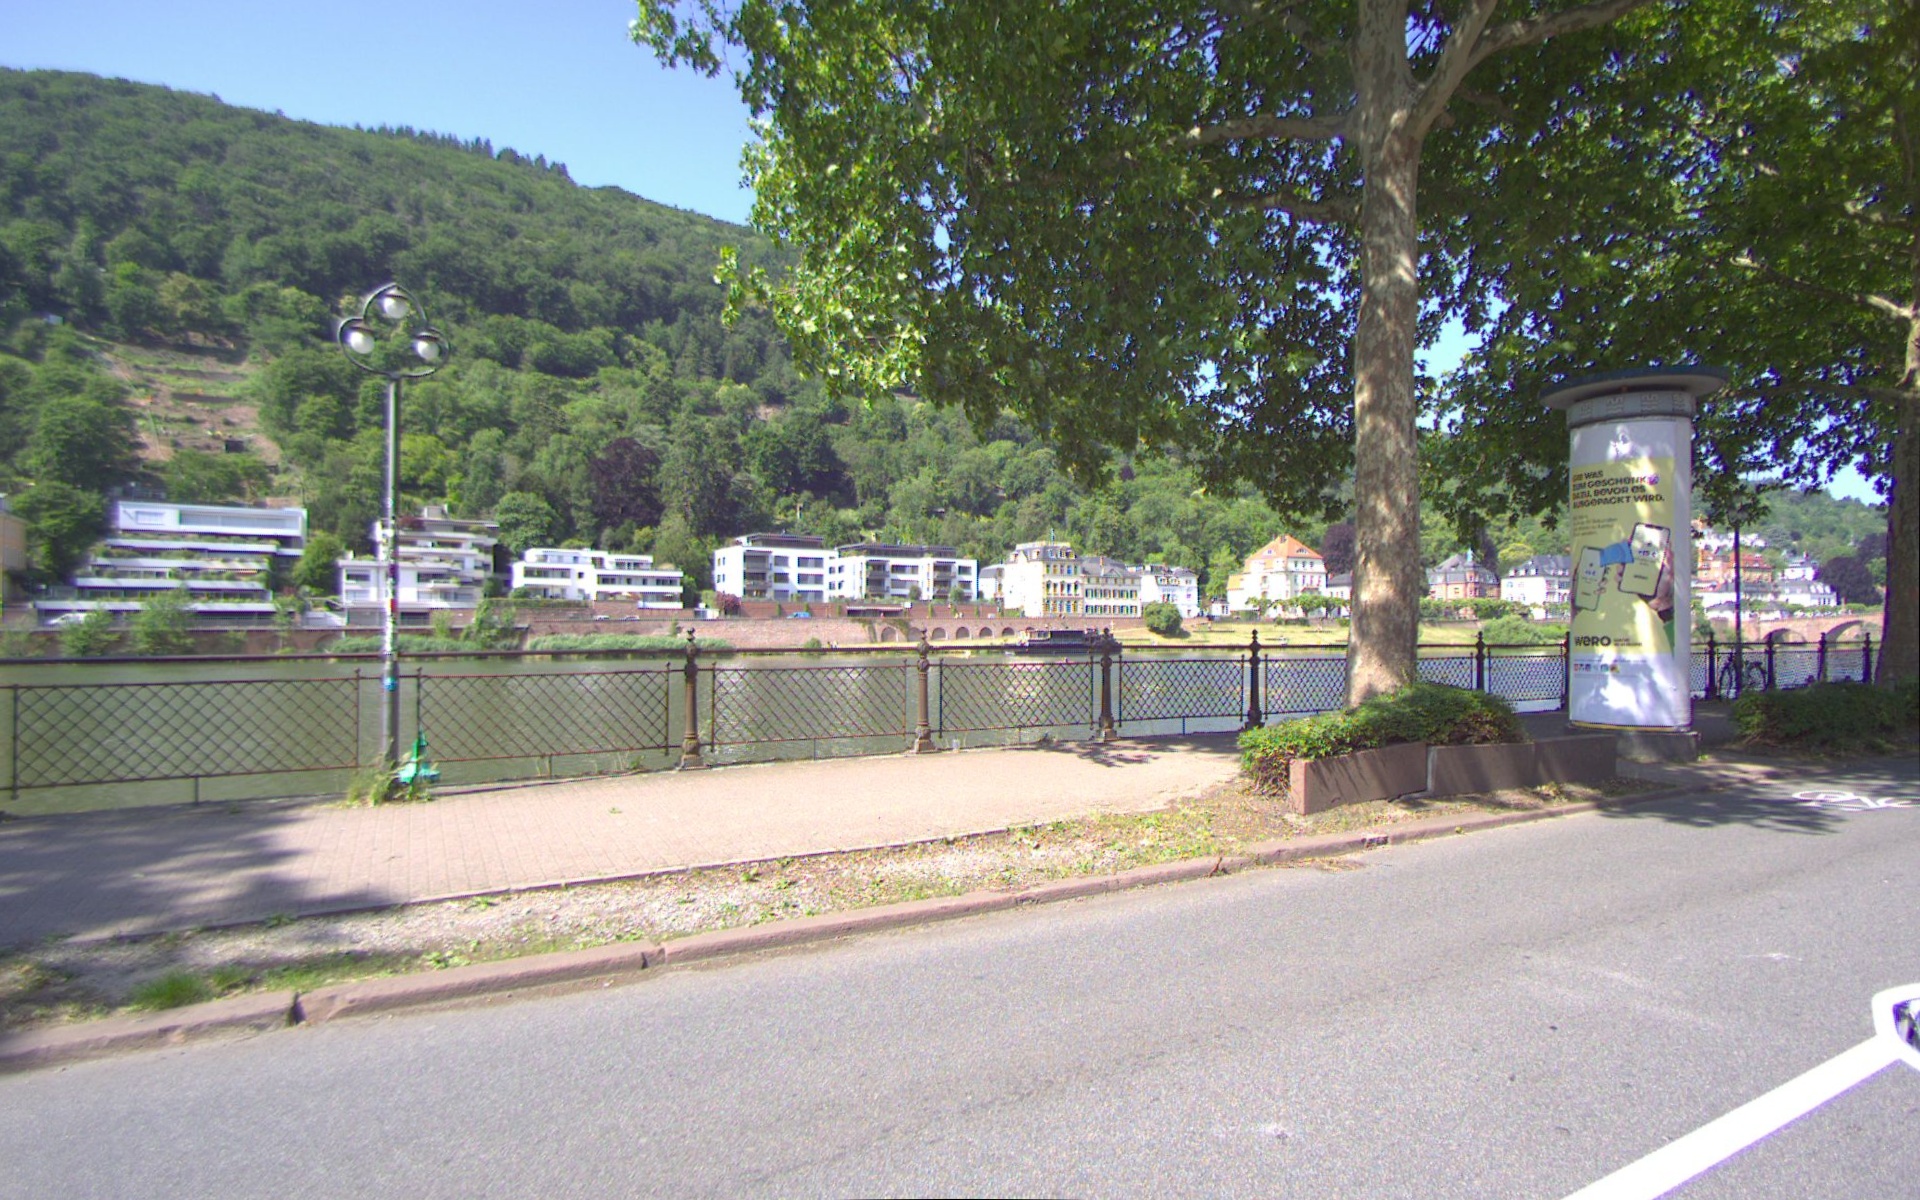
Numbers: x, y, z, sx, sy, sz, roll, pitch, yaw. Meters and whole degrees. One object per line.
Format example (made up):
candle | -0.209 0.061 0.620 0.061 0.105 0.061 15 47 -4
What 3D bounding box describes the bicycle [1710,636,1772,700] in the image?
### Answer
bicycle | 15.140 1.298 19.451 1.806 1.177 0.355 1 -3 -33
